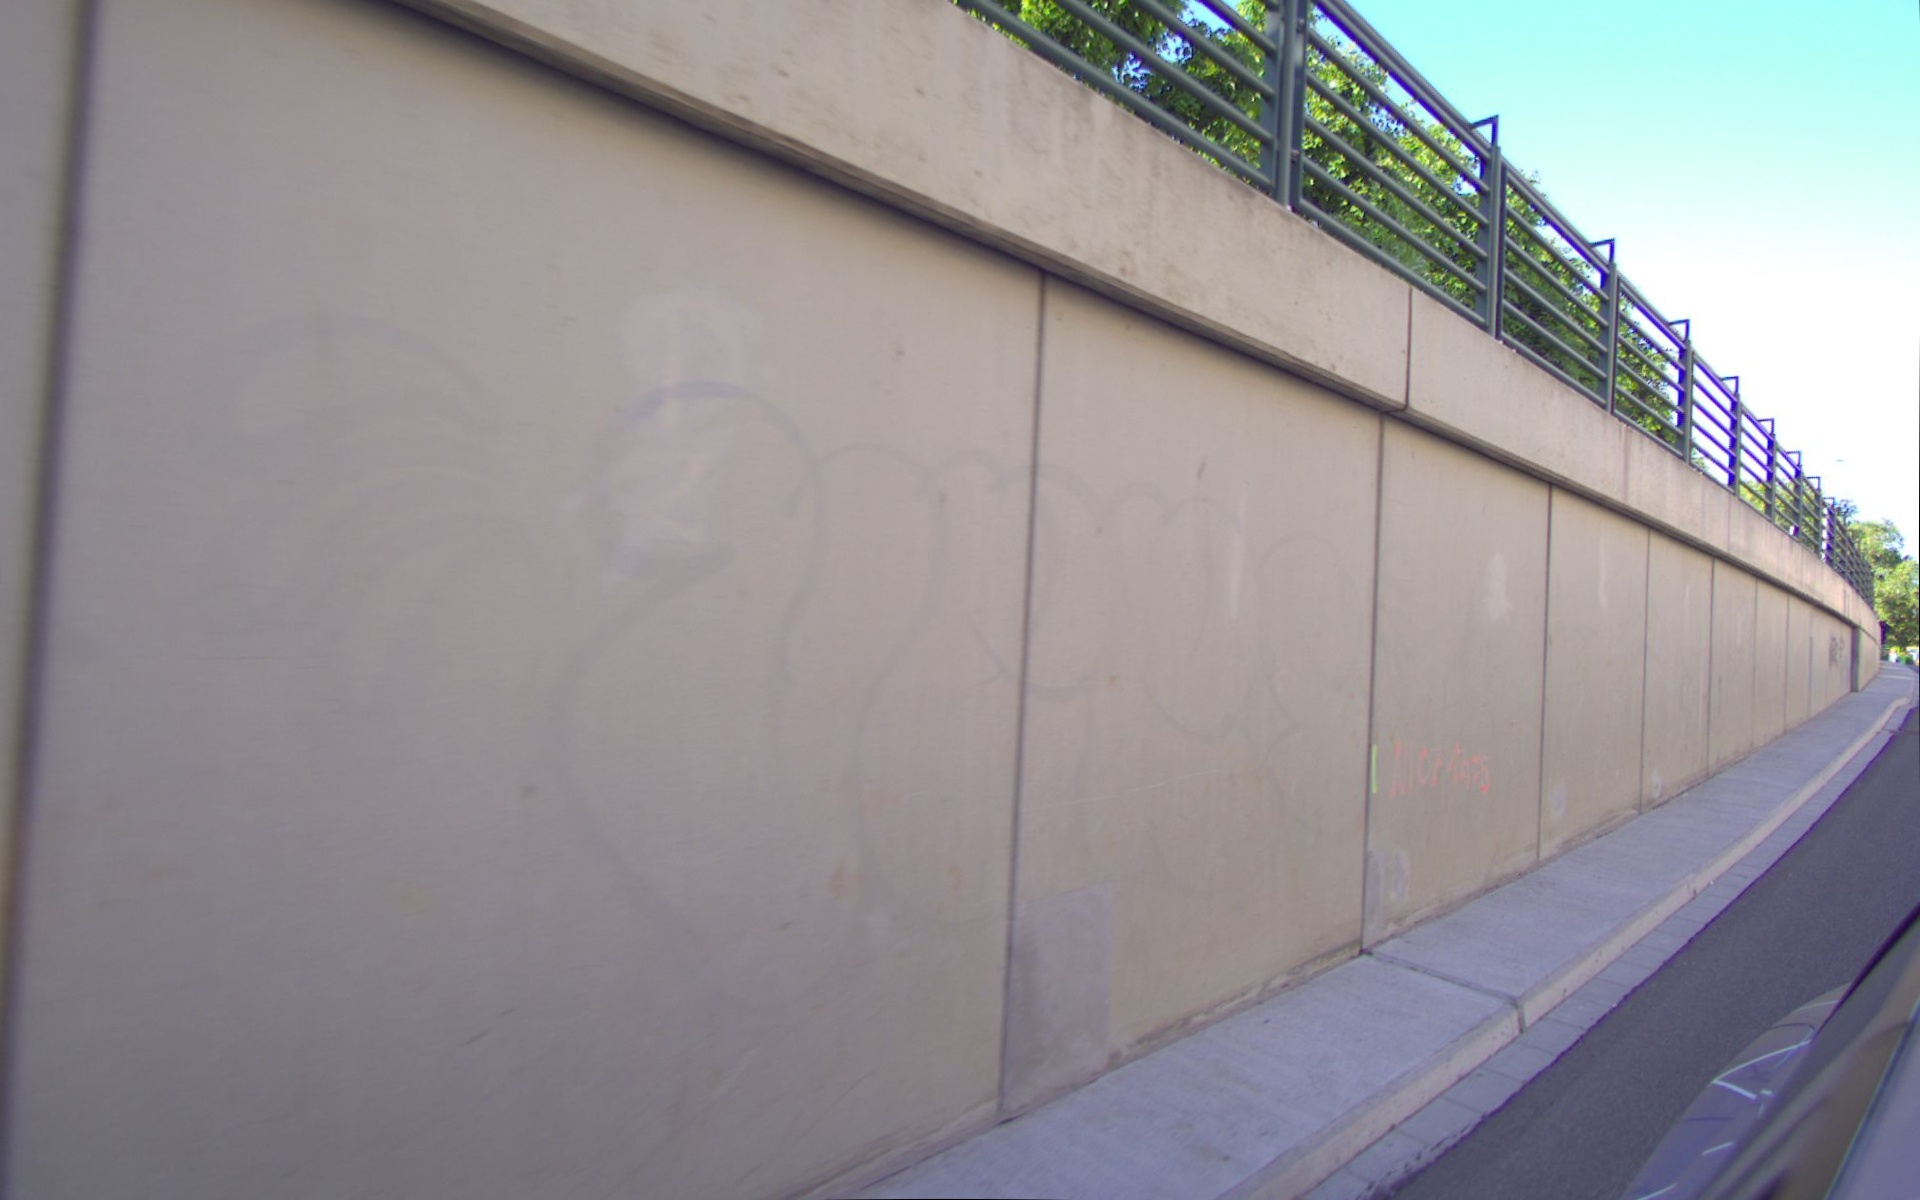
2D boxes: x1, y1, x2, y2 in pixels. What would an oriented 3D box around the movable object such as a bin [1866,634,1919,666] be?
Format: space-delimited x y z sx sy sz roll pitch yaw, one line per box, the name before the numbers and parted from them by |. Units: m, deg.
movable object such as a bin | 68.784 3.670 73.973 3.210 2.103 2.091 3 -2 25
